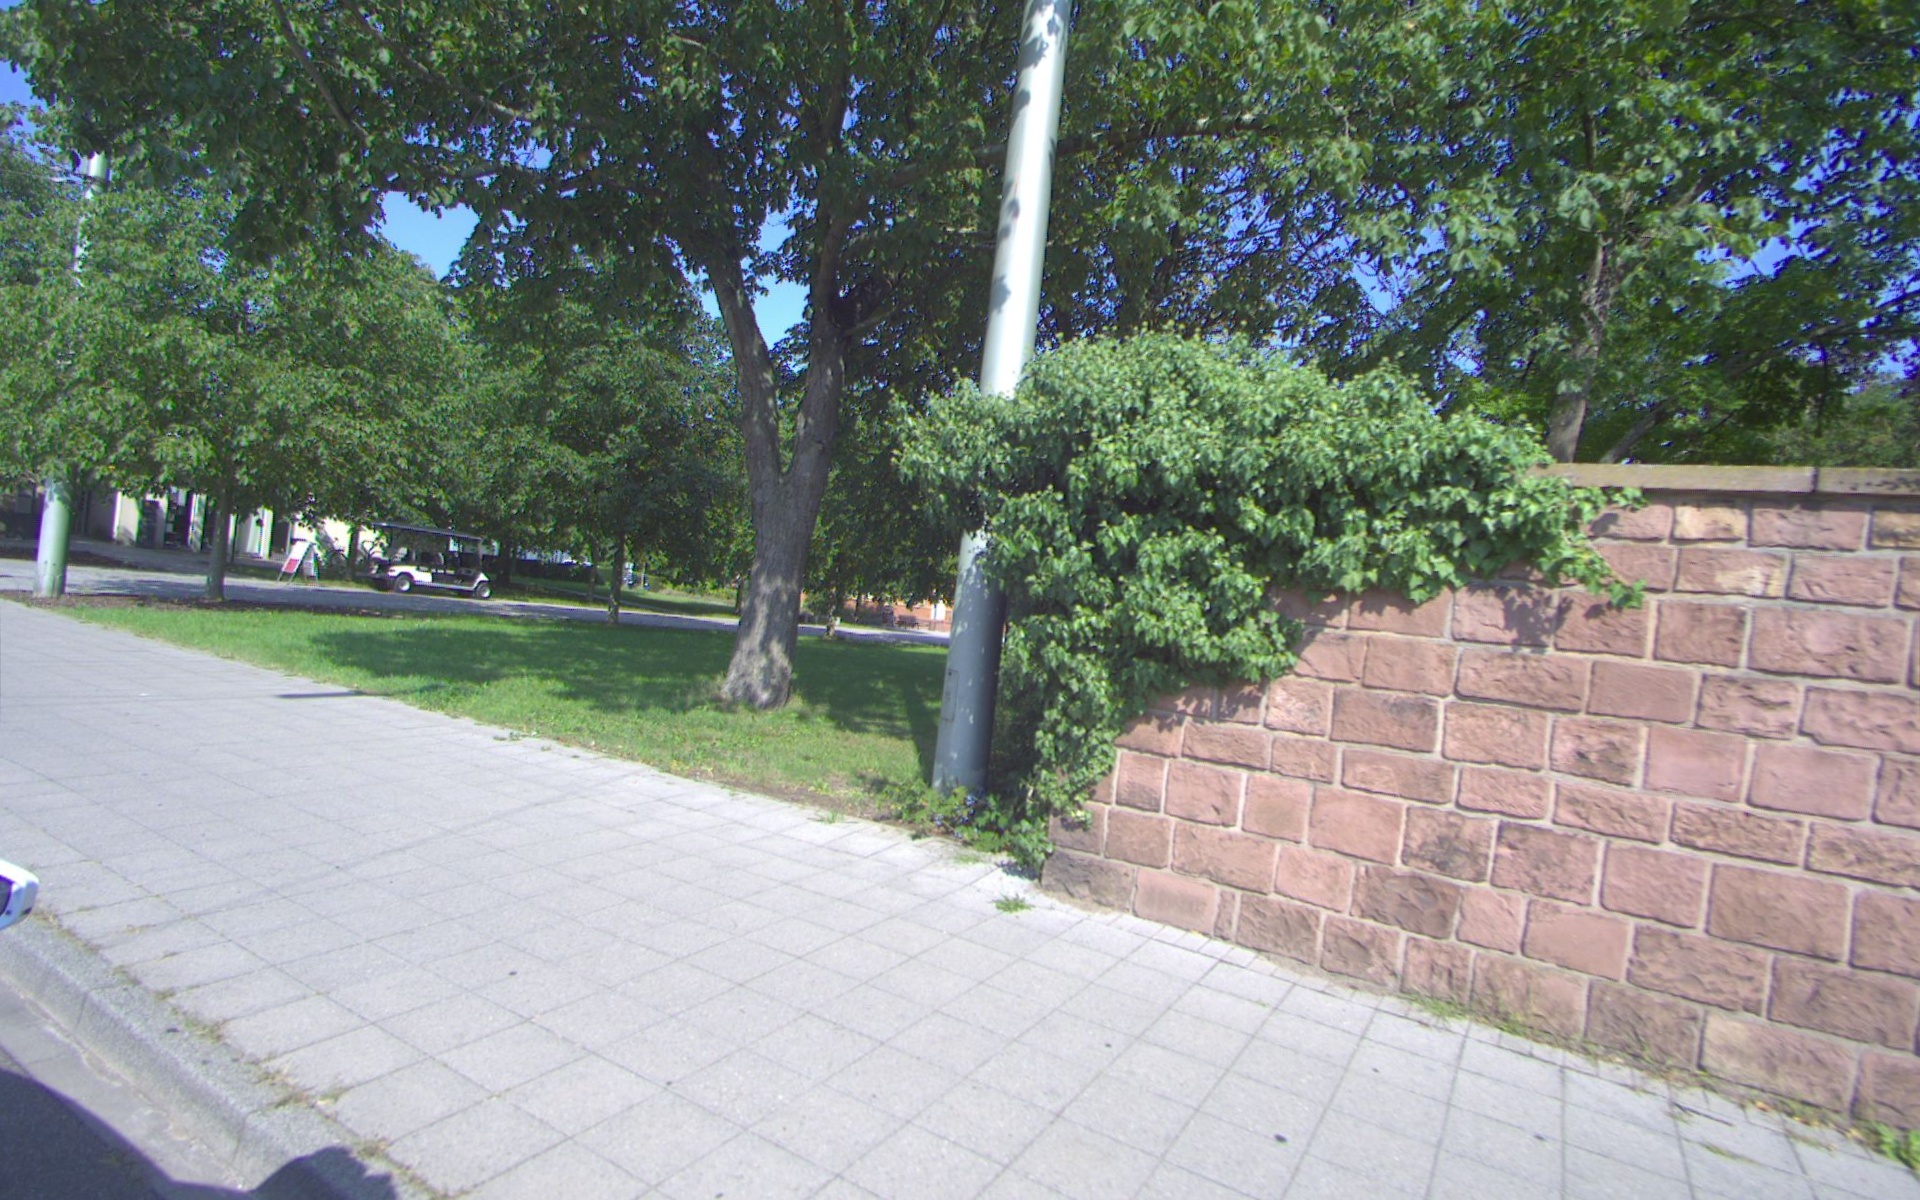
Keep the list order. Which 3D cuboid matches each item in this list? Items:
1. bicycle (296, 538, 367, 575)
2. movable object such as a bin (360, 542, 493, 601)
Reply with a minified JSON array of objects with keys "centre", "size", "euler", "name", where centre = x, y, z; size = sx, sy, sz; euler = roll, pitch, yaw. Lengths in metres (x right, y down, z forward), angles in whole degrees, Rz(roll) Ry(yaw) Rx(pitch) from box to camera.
[{"centre":[-20.616,-1.415,33.025],"size":[0.420,0.991,1.907],"euler":[7,-1,31],"name":"bicycle"},{"centre":[-15.402,-0.802,29.182],"size":[1.279,1.314,3.109],"euler":[7,0,31],"name":"movable object such as a bin"}]
